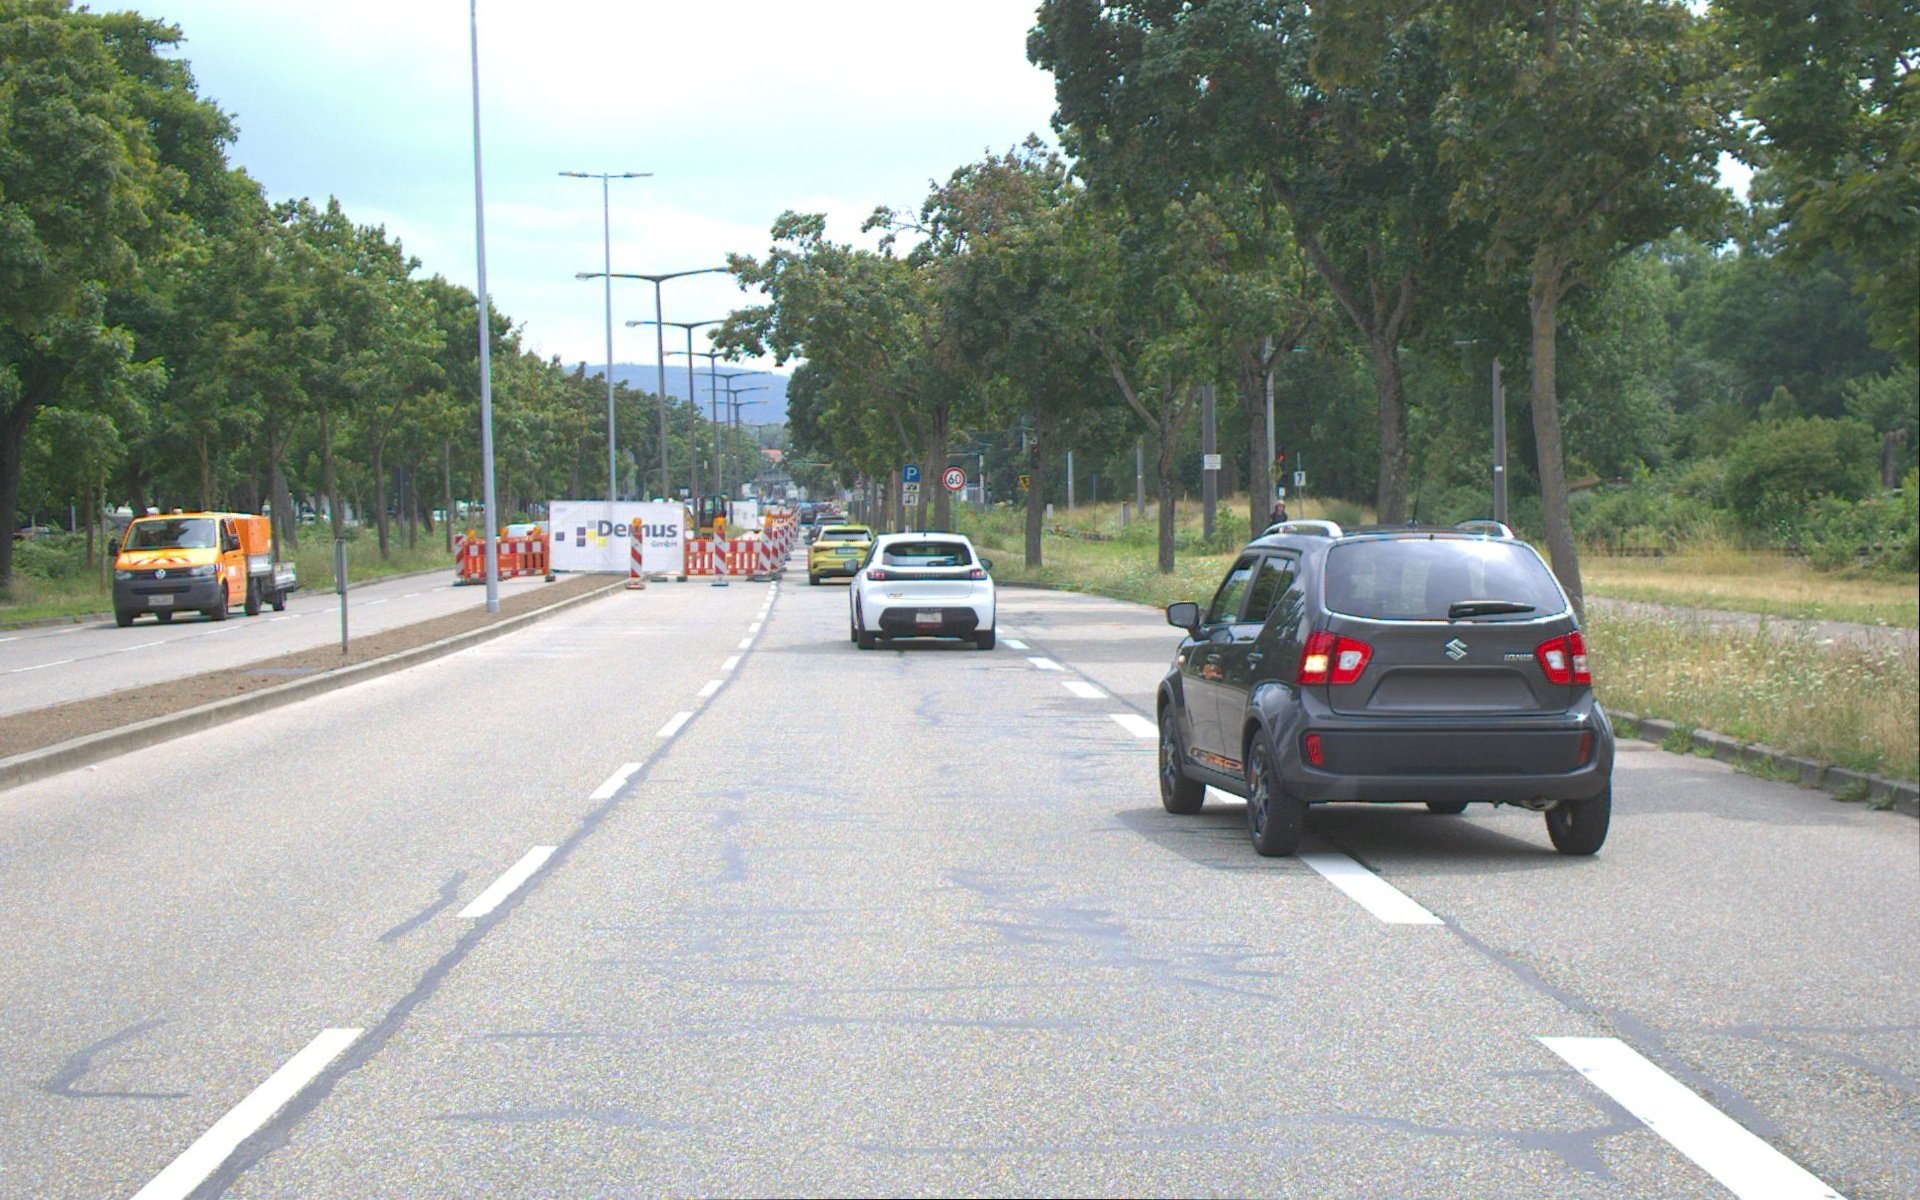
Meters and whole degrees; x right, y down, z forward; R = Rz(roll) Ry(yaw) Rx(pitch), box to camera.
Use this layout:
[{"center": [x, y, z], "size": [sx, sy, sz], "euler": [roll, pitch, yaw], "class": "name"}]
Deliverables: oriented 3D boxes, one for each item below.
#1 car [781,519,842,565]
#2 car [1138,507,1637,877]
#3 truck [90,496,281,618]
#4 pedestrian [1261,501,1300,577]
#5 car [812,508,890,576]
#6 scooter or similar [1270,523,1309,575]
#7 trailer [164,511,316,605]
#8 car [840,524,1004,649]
[{"center": [-4.420, -1.741, 102.529], "size": [1.667, 1.265, 4.001], "euler": [-1, 2, 0], "class": "car"}, {"center": [2.037, 0.361, 17.513], "size": [1.703, 1.662, 4.001], "euler": [0, 2, -5], "class": "car"}, {"center": [-13.786, -0.823, 61.563], "size": [2.088, 1.987, 6.040], "euler": [-2, 2, -1], "class": "truck"}, {"center": [7.220, -1.383, 77.429], "size": [0.690, 1.689, 0.934], "euler": [-1, 2, -6], "class": "pedestrian"}, {"center": [-2.614, -1.430, 83.294], "size": [1.793, 1.556, 4.001], "euler": [-1, 2, 0], "class": "car"}, {"center": [7.330, -1.138, 76.506], "size": [0.681, 1.126, 0.934], "euler": [-1, 2, -7], "class": "scooter or similar"}, {"center": [-13.848, -0.825, 66.362], "size": [2.062, 1.684, 3.895], "euler": [-2, 1, 0], "class": "trailer"}, {"center": [-0.530, -0.205, 43.711], "size": [1.766, 1.459, 4.001], "euler": [-1, 2, -5], "class": "car"}]
